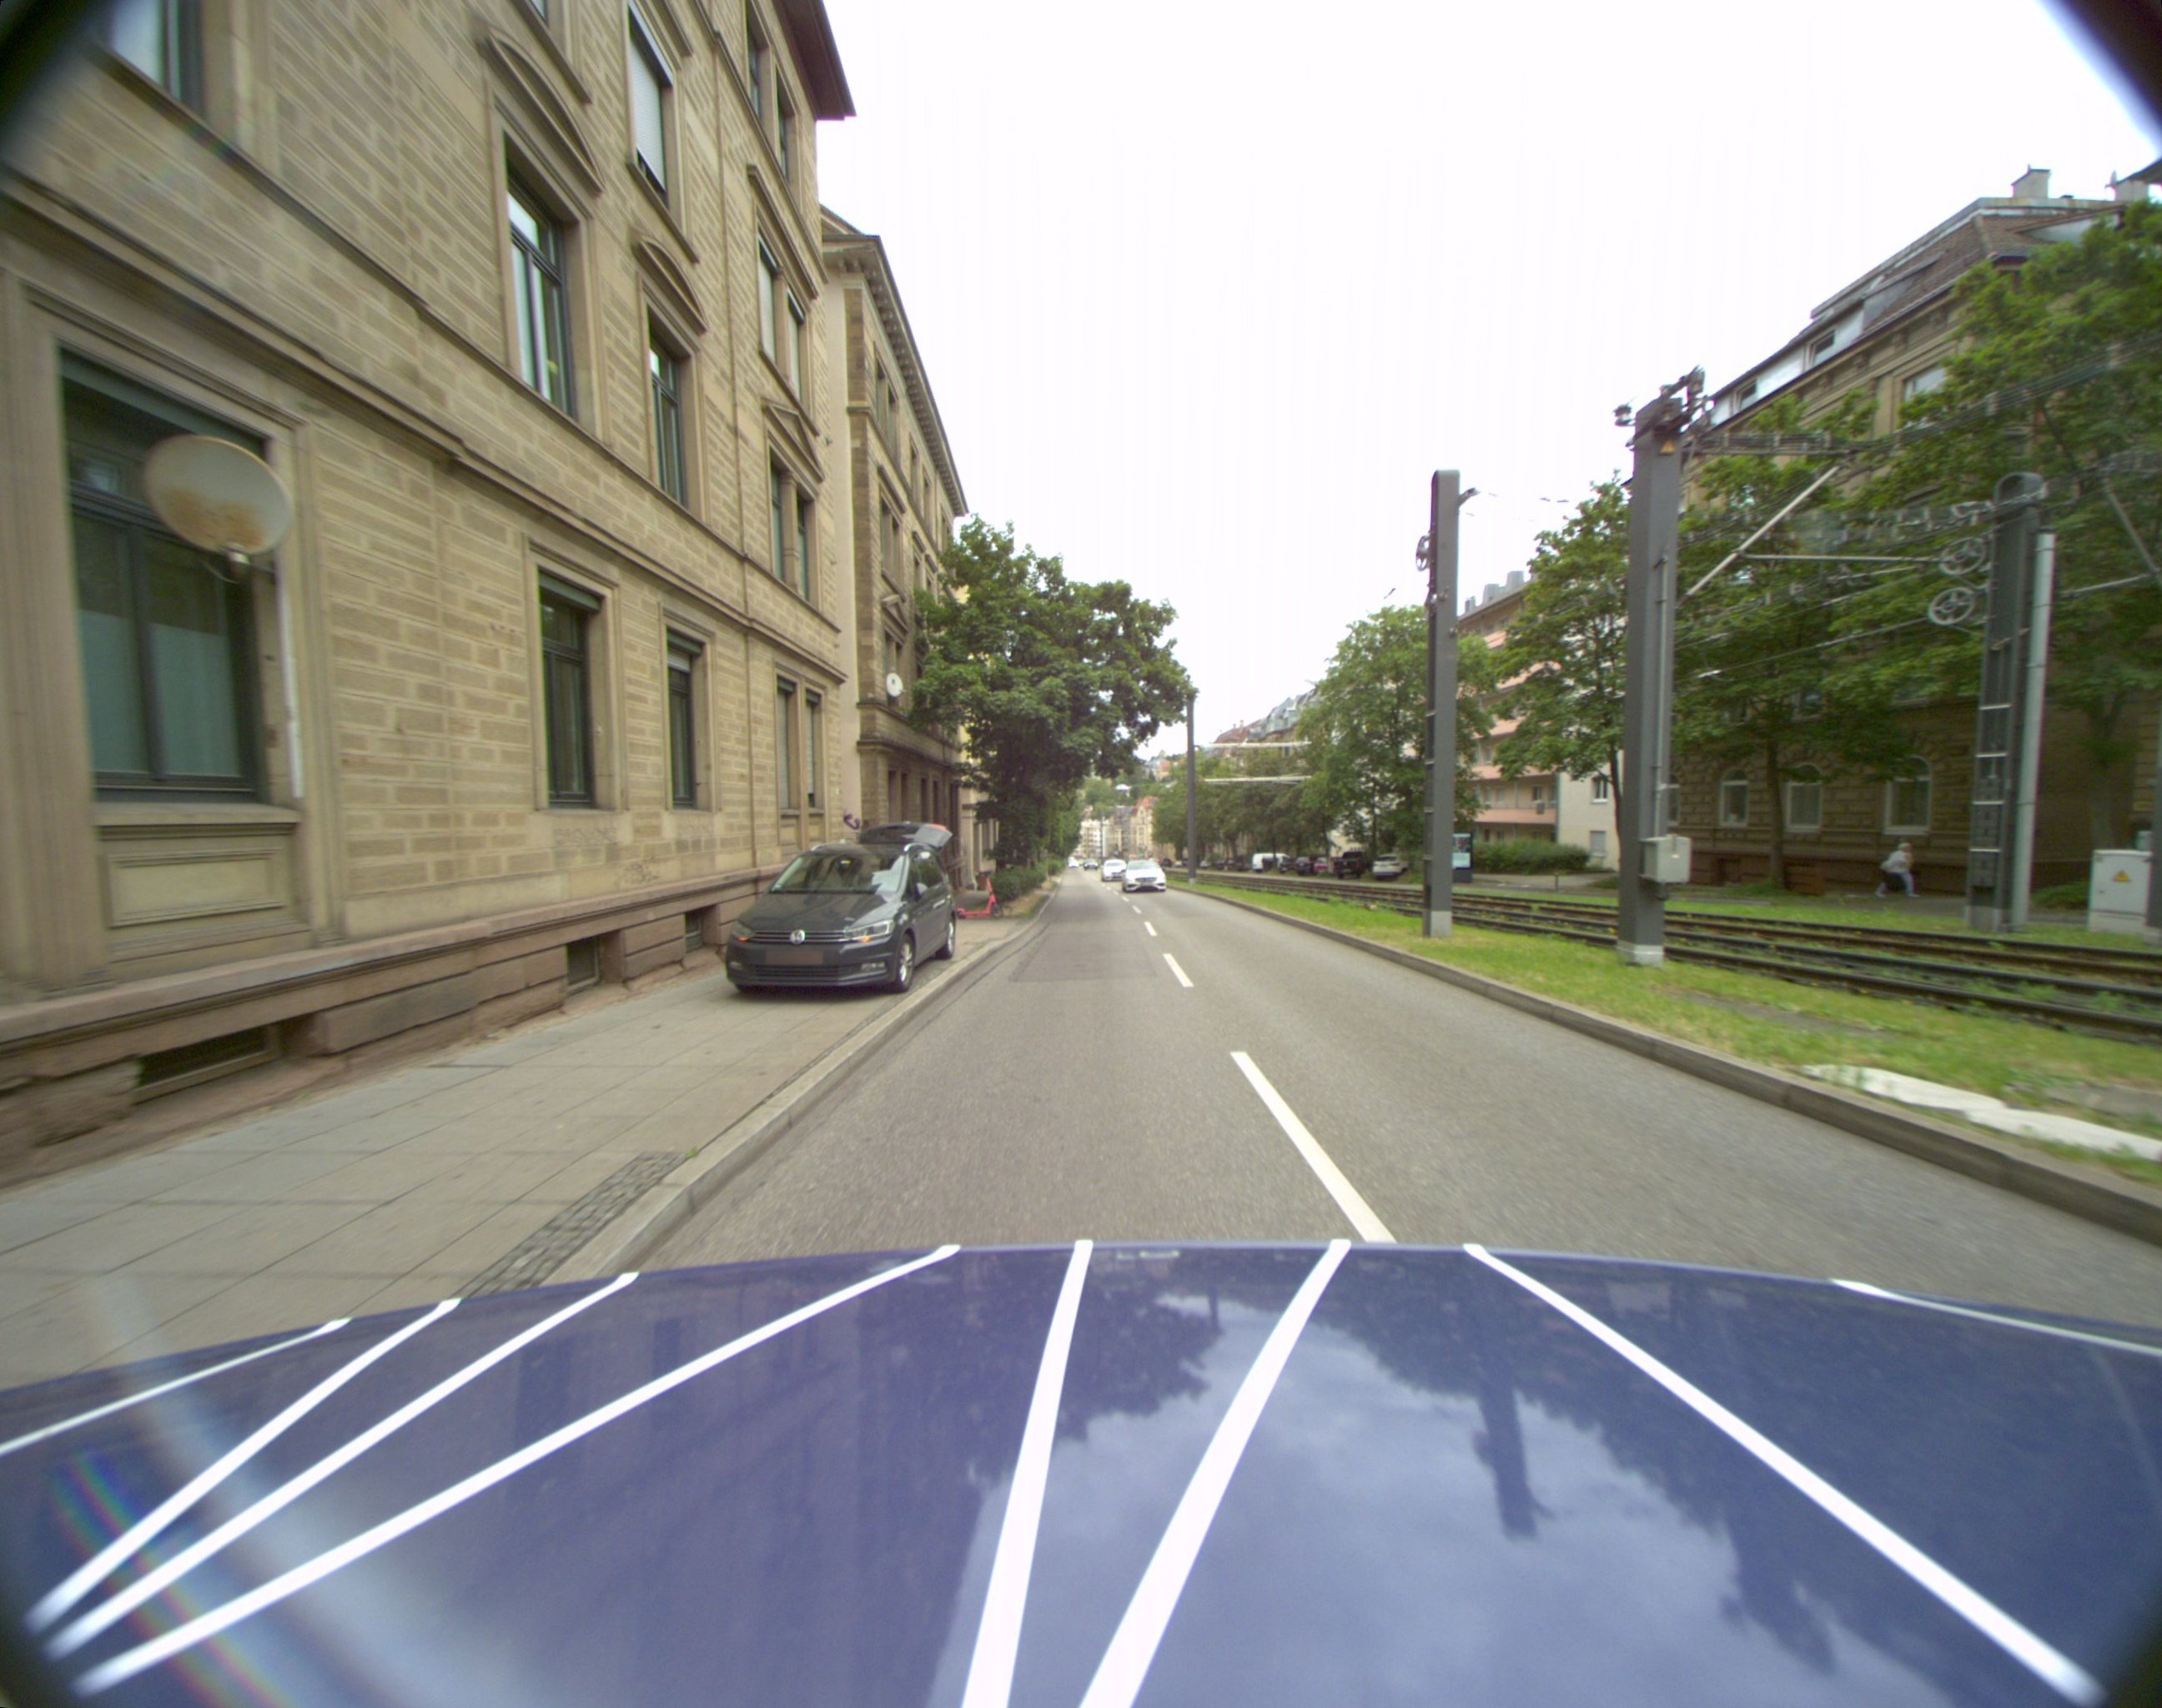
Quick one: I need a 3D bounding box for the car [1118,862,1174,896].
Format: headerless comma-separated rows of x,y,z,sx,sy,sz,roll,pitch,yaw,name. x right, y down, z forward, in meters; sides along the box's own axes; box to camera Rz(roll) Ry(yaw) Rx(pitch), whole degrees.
2.894,1.083,34.719,1.999,1.390,4.229,-1,0,-3,car

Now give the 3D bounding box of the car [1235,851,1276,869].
18.531,0.648,80.841,3.860,1.803,1.782,-2,1,-16,car

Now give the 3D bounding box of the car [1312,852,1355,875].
19.063,0.717,57.345,1.779,1.678,3.866,-1,0,39,car

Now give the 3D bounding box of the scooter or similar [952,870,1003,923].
-2.619,1.064,19.183,1.199,1.266,0.629,2,1,-9,scooter or similar

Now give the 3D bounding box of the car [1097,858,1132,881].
2.298,1.045,52.966,1.999,1.479,4.229,-4,0,-3,car

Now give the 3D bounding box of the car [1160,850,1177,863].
14.248,0.380,124.007,2.000,2.002,3.998,-1,0,-6,car

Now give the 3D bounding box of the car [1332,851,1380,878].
18.341,0.683,50.527,1.779,1.678,3.866,-1,0,39,car

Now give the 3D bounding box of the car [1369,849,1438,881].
18.953,0.621,44.622,3.864,1.678,1.780,-2,1,-32,car

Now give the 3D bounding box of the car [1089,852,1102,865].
2.056,0.608,108.282,1.881,1.727,4.000,-1,0,1,car

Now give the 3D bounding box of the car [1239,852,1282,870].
18.540,0.724,78.495,3.860,1.803,1.782,-1,0,-16,car

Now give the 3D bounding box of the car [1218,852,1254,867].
18.779,0.653,92.287,3.860,1.803,1.782,-1,0,-16,car

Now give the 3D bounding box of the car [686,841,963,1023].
-2.744,0.732,9.287,1.862,1.701,4.308,0,0,1,car

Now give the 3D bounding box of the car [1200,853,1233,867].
17.963,0.790,100.937,3.860,1.803,1.782,-1,0,-16,car

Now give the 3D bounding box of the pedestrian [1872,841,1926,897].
22.576,0.415,20.978,0.689,1.504,0.740,-2,1,1,pedestrian

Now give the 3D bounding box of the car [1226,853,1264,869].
18.703,0.799,86.761,3.860,1.803,1.782,-1,0,-16,car

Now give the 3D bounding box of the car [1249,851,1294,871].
18.195,0.687,72.431,3.862,1.803,1.781,-1,0,-24,car

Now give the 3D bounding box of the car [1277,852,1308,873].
18.238,0.734,65.373,1.780,1.678,3.864,-1,1,28,car

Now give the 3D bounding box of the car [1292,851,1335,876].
18.225,0.699,59.568,1.779,1.679,3.864,-1,3,40,car

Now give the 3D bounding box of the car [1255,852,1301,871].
18.225,0.692,70.283,3.862,1.678,1.781,-1,0,-24,car

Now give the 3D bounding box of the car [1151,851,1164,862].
13.767,0.410,137.170,1.998,2.002,4.000,-1,0,1,car
